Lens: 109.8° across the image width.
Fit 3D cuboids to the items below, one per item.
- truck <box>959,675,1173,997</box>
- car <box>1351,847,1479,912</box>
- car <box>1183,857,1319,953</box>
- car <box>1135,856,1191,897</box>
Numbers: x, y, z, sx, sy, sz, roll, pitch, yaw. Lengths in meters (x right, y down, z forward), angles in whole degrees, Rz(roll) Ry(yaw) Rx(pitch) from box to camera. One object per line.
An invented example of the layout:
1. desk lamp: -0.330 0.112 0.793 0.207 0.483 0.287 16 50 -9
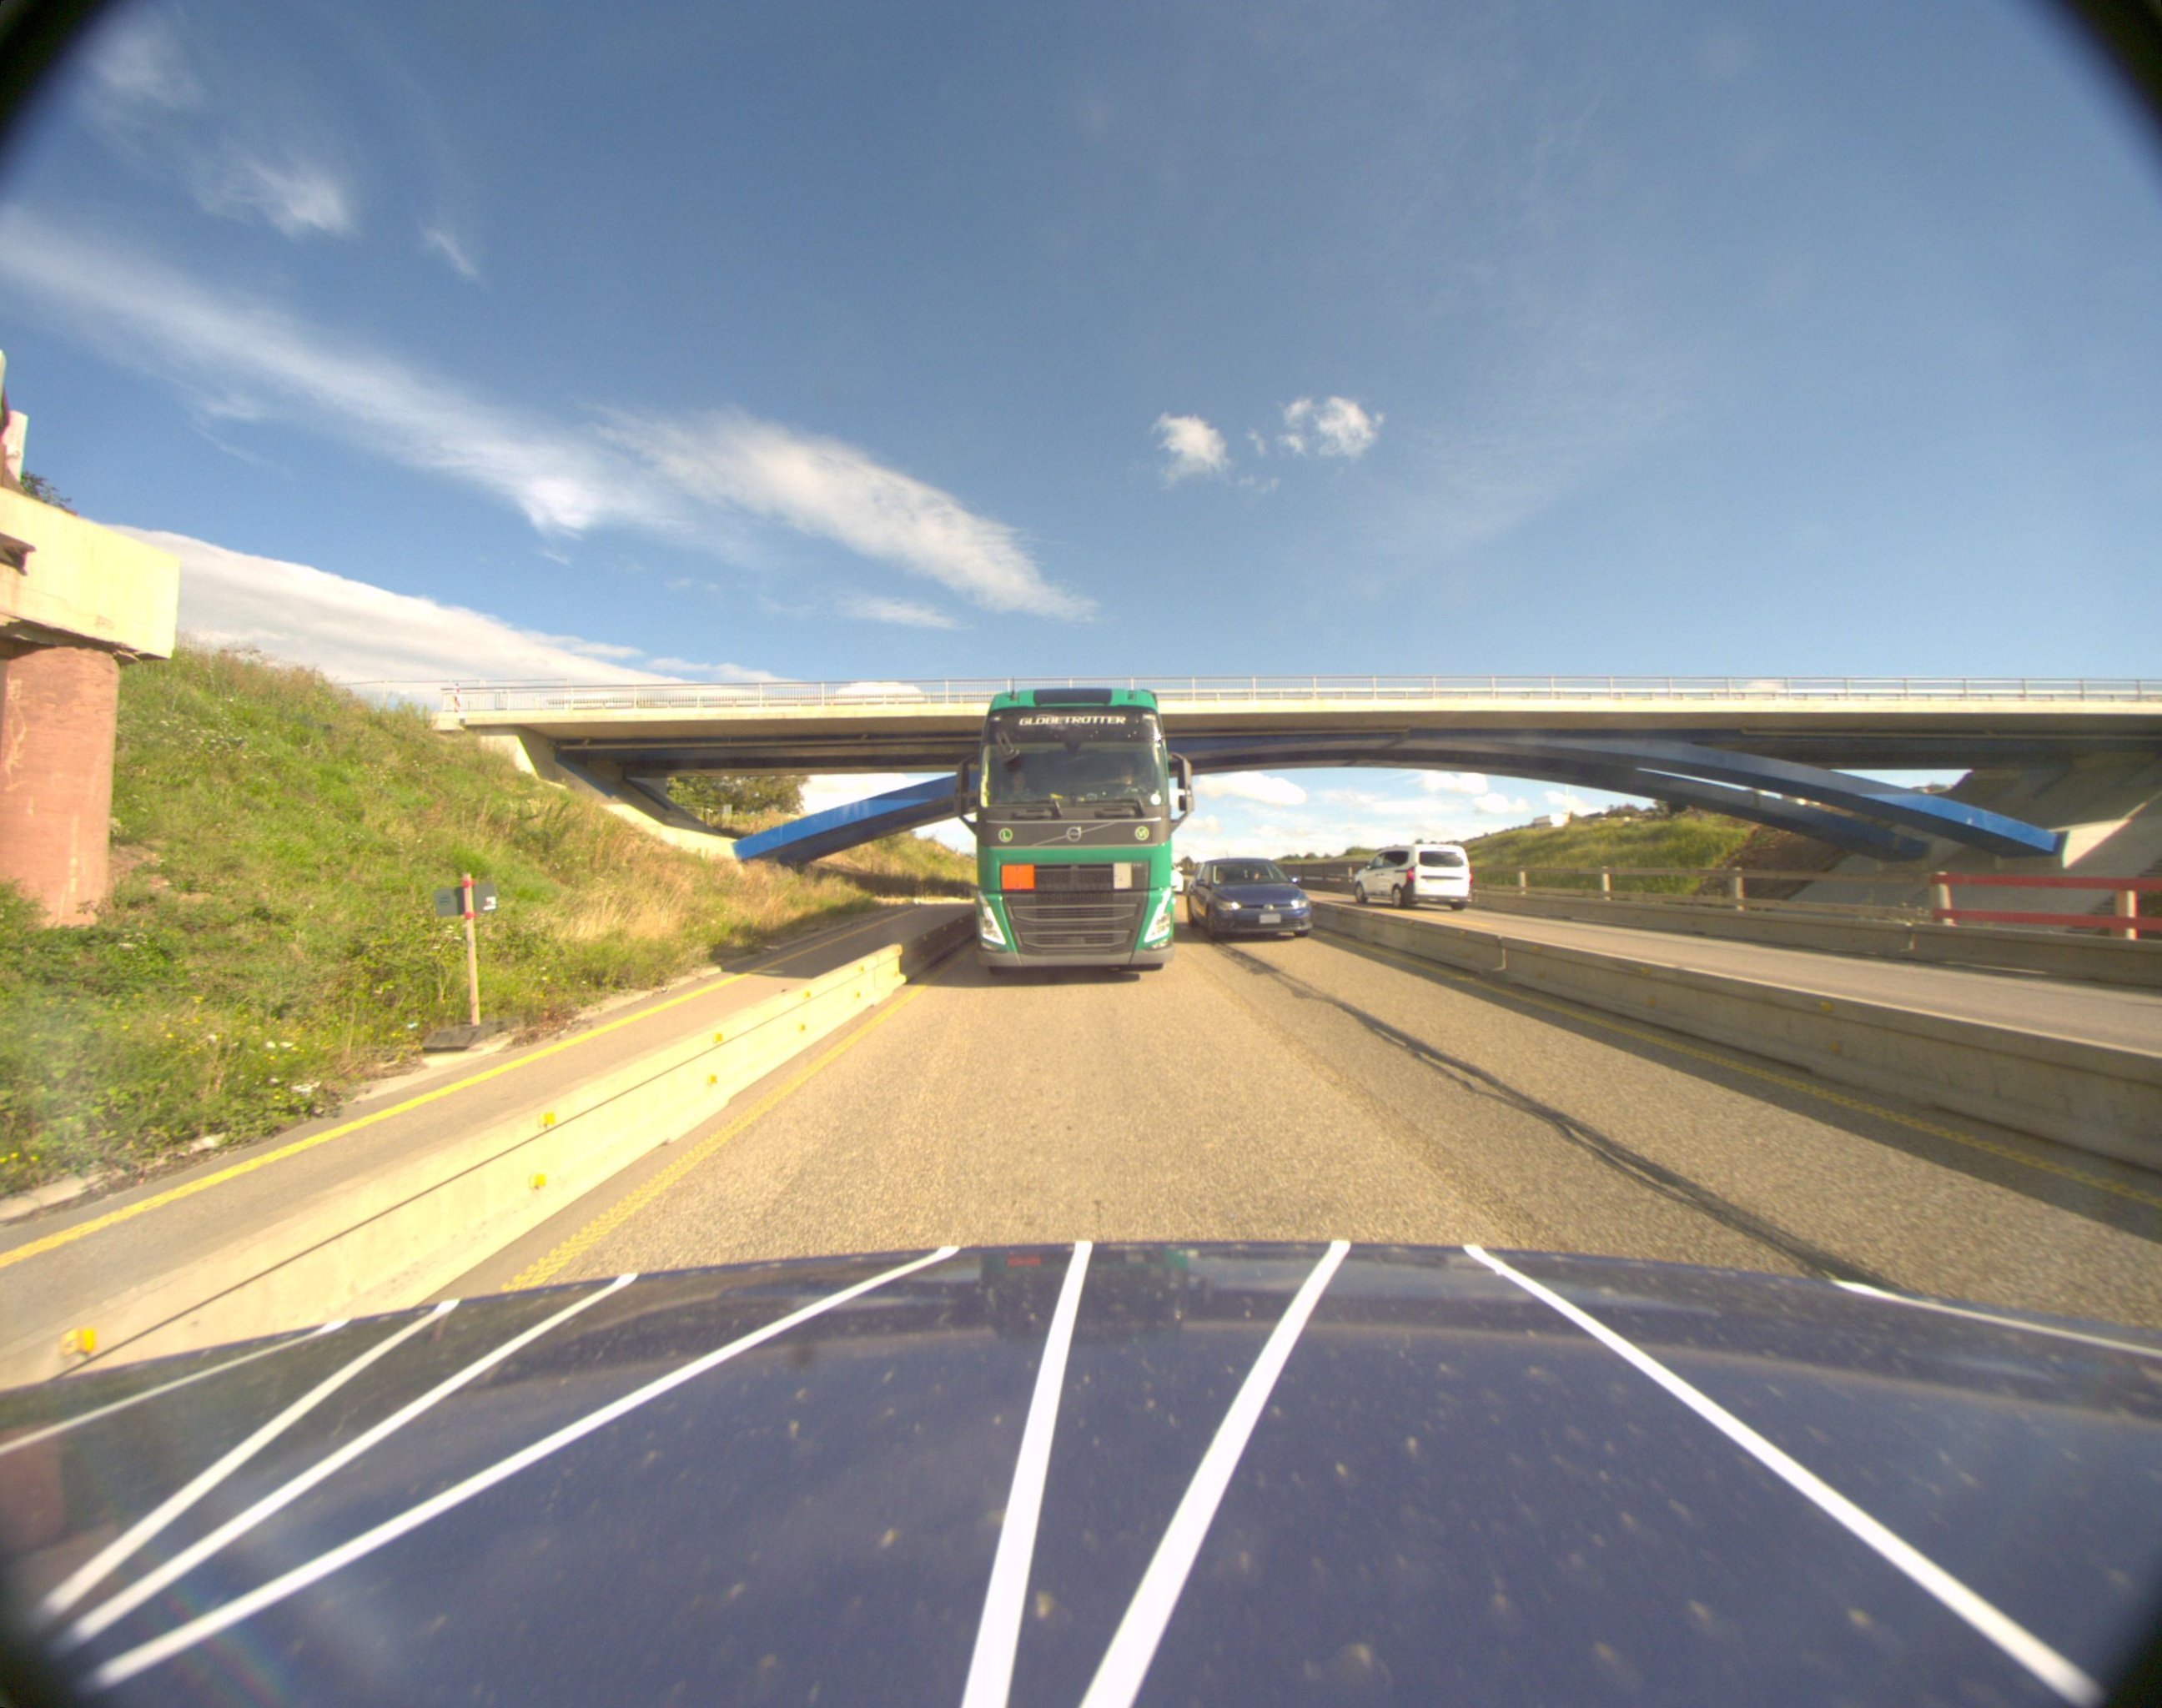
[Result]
1. truck: -0.144 -0.217 13.494 2.546 3.899 8.279 -1 0 1
2. car: 9.407 0.675 21.811 1.738 1.649 4.218 1 0 -1
3. car: 3.060 0.842 14.485 1.719 1.499 4.000 -2 0 1
4. car: 3.255 0.857 30.903 1.825 1.487 4.374 -2 0 1
